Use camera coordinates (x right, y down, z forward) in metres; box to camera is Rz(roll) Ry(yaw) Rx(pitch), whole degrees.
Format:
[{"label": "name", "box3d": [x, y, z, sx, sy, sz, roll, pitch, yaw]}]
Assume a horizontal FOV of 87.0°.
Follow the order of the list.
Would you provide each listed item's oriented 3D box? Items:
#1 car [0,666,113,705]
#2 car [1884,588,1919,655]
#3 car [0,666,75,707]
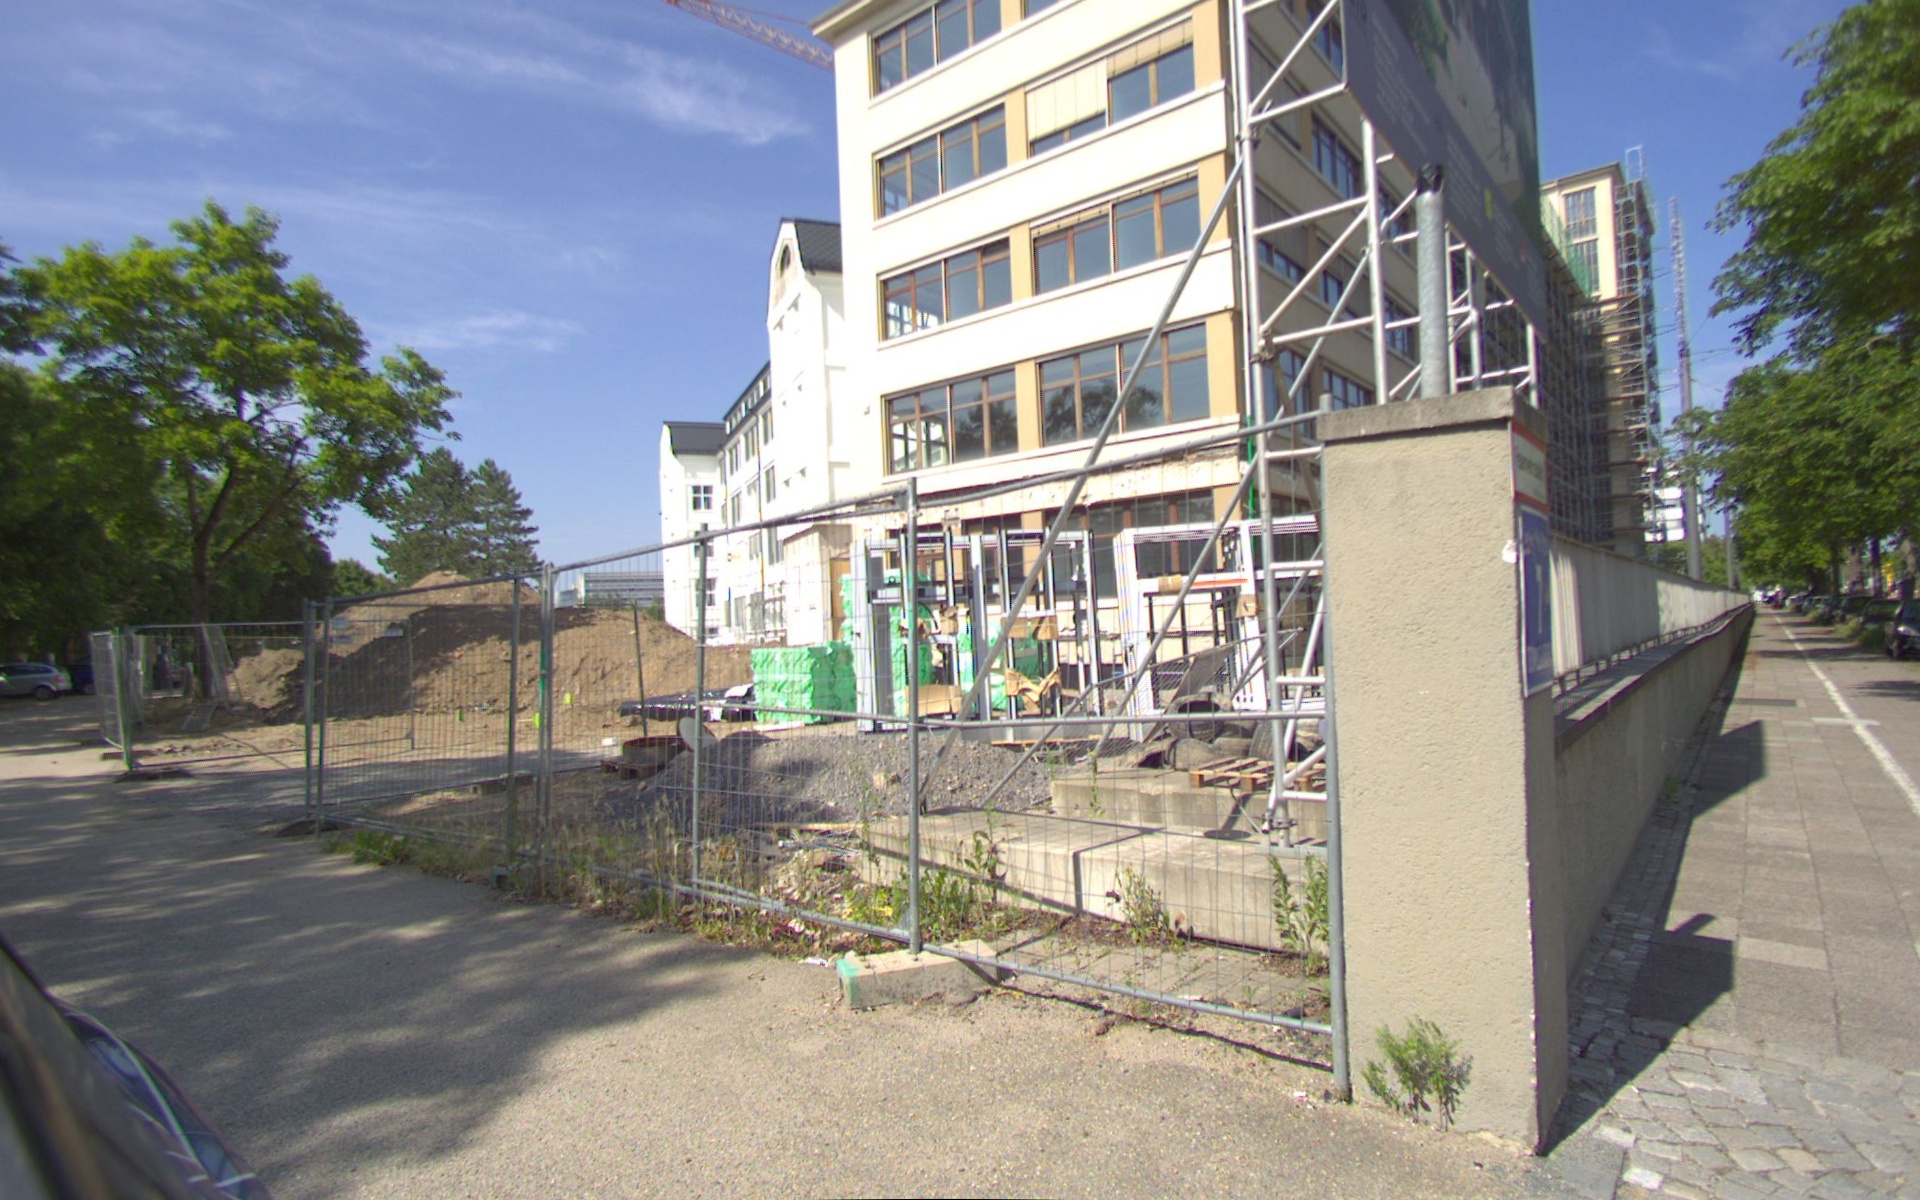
[{"label": "car", "box3d": [-40.667, 3.802, 45.312, 3.932, 1.453, 2.006, -1, -2, -31]}, {"label": "car", "box3d": [22.663, 0.434, 23.183, 1.819, 1.464, 3.949, -4, -2, 38]}, {"label": "car", "box3d": [-38.247, 3.502, 40.490, 3.932, 1.519, 2.006, -1, -2, -31]}]
